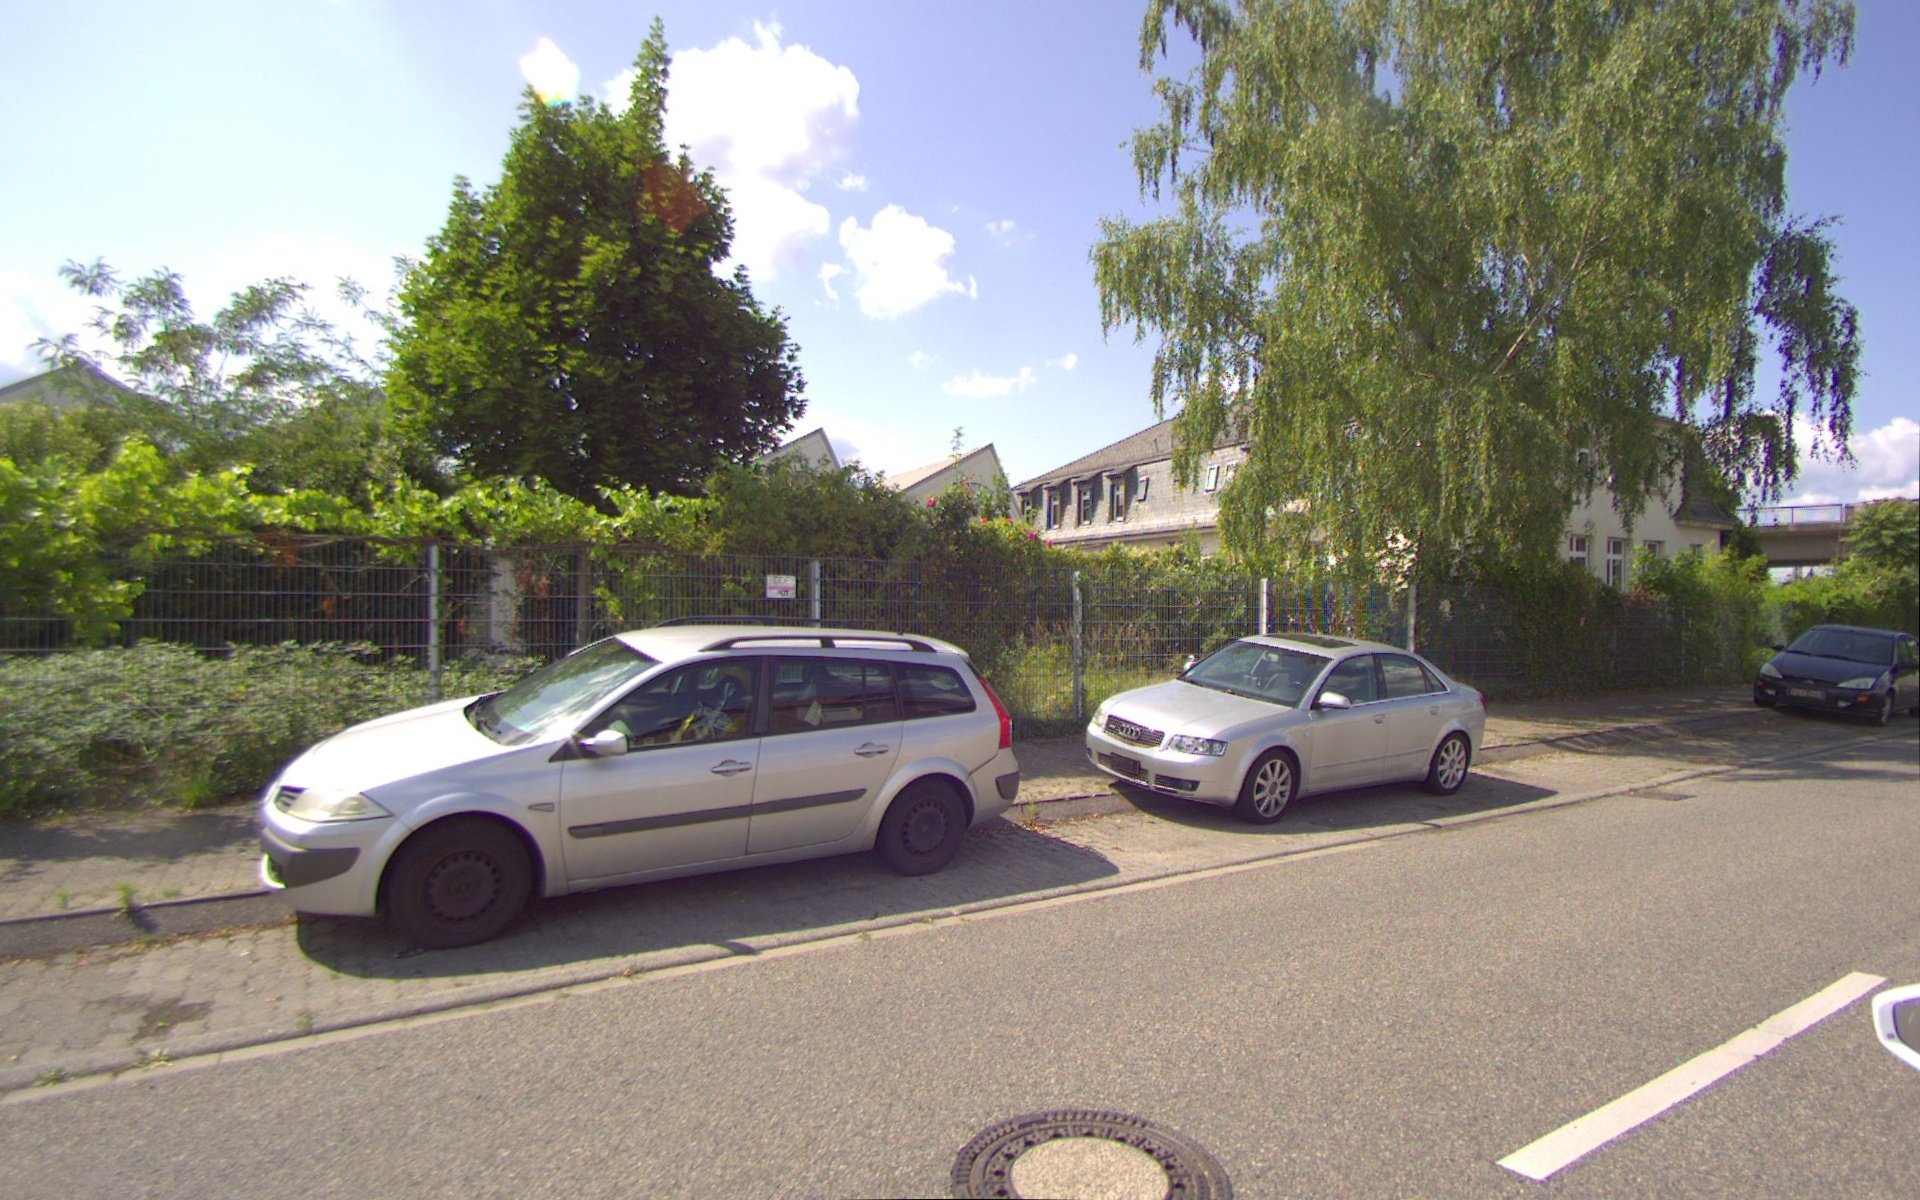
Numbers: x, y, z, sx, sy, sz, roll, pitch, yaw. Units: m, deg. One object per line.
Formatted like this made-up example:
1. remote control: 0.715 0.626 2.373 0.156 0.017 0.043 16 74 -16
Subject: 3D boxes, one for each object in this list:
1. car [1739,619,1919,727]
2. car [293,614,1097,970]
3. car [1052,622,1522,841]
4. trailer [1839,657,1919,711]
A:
1. car: 15.269 1.189 17.291 4.115 1.533 1.671 2 3 -34
2. car: -1.455 0.881 6.404 4.609 1.547 1.784 1 -1 -33
3. car: 3.218 1.038 9.498 4.583 1.497 1.713 1 3 -34
4. trailer: 18.807 1.652 19.884 2.440 0.862 1.456 1 3 -32
